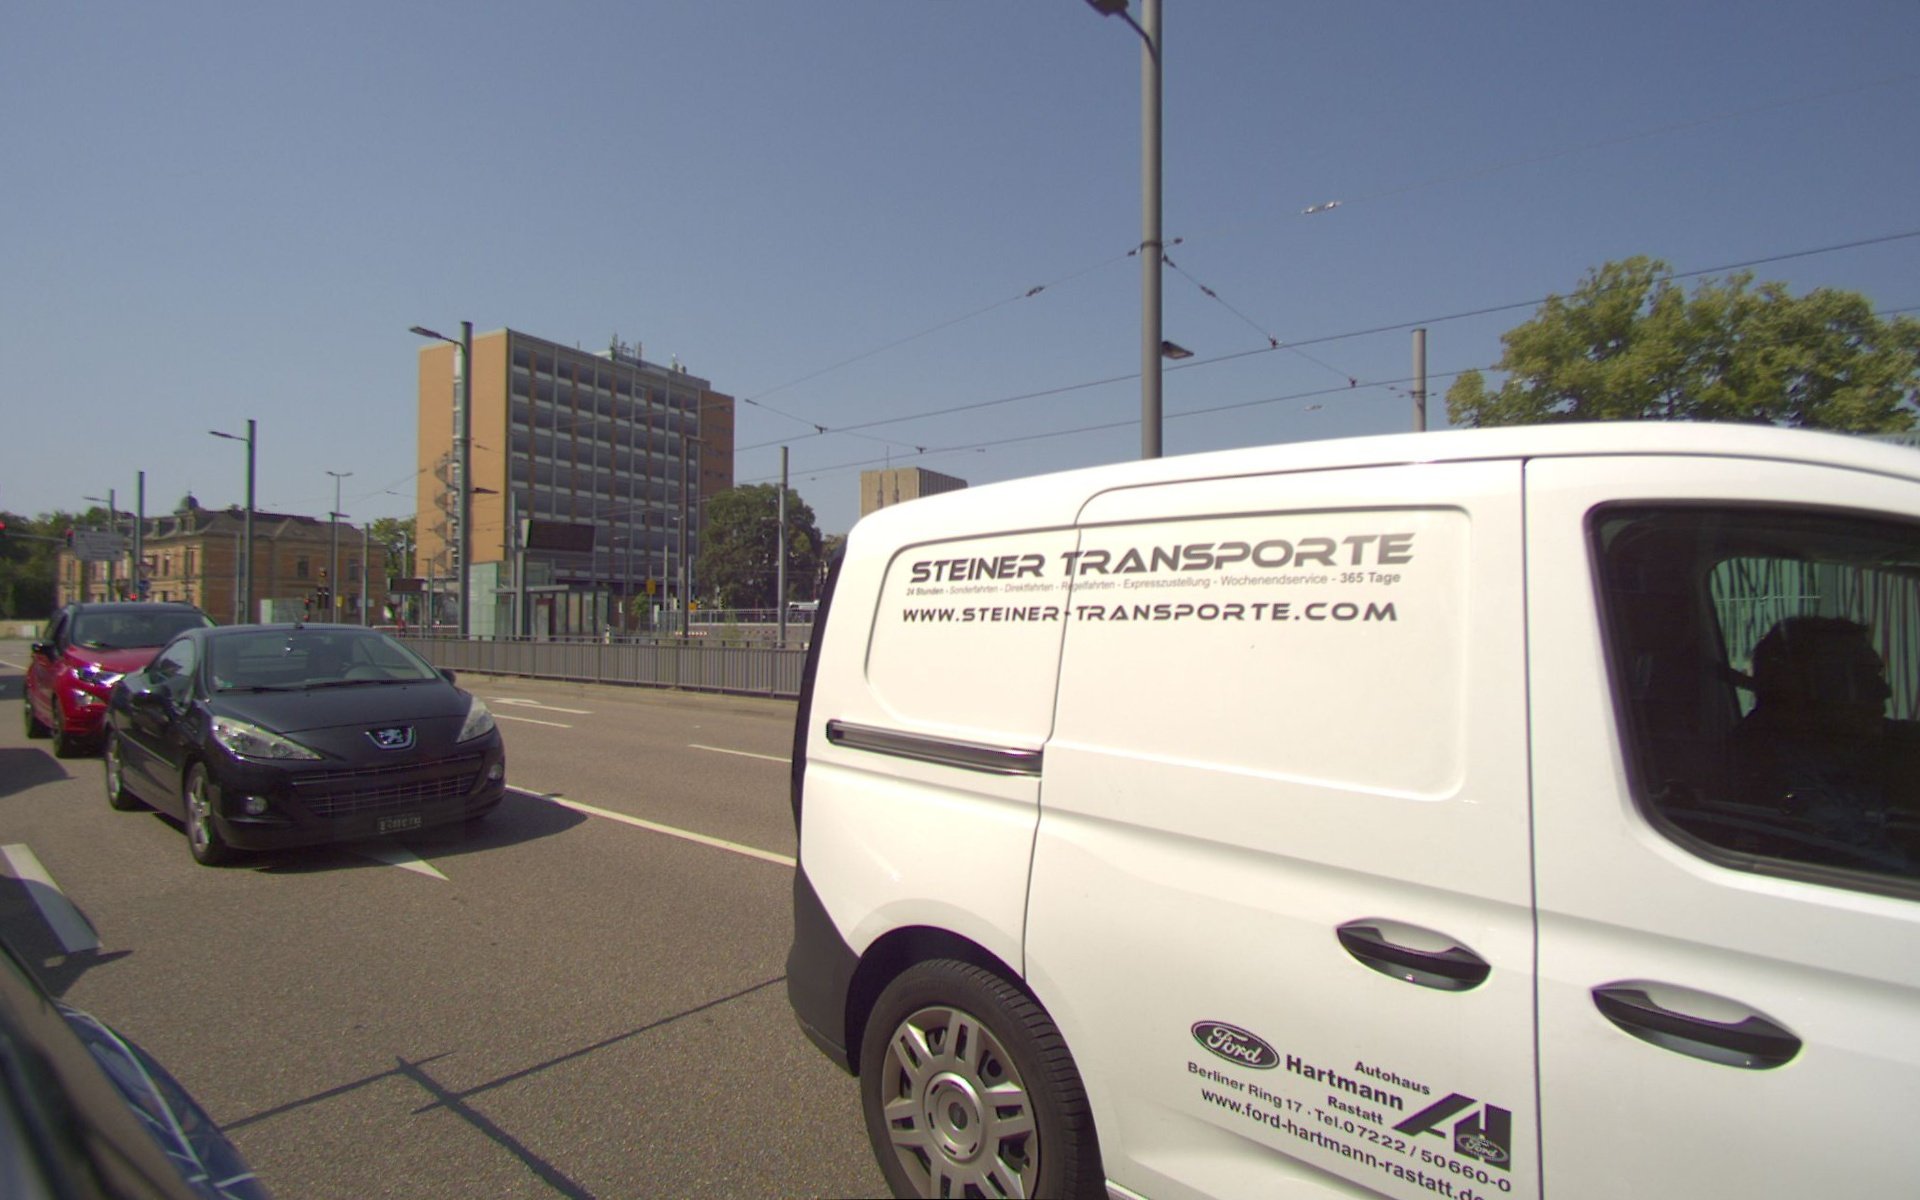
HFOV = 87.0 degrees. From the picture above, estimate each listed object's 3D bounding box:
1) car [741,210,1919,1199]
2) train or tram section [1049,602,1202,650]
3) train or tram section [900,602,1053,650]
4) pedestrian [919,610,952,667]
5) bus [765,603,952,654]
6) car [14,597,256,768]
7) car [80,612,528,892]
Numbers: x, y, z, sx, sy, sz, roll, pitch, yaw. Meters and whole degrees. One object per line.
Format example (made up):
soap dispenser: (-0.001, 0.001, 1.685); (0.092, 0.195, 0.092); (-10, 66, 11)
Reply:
car: (1.590, 0.479, 1.854); (4.237, 1.834, 1.729); (-1, -1, 41)
train or tram section: (13.453, 2.143, 82.461); (12.180, 3.794, 2.002); (0, -2, -4)
train or tram section: (1.287, 2.104, 81.557); (12.180, 3.794, 2.002); (0, -2, -4)
pedestrian: (-0.792, 1.245, 32.661); (0.761, 1.801, 0.735); (-2, -3, 42)
bus: (-7.327, 2.004, 73.620); (13.205, 3.319, 3.354); (-1, 0, -4)
car: (-9.575, 0.822, 11.635); (3.967, 1.633, 1.612); (-1, -1, 43)
car: (-4.749, 0.824, 7.110); (3.799, 1.424, 1.671); (-1, -1, 41)
